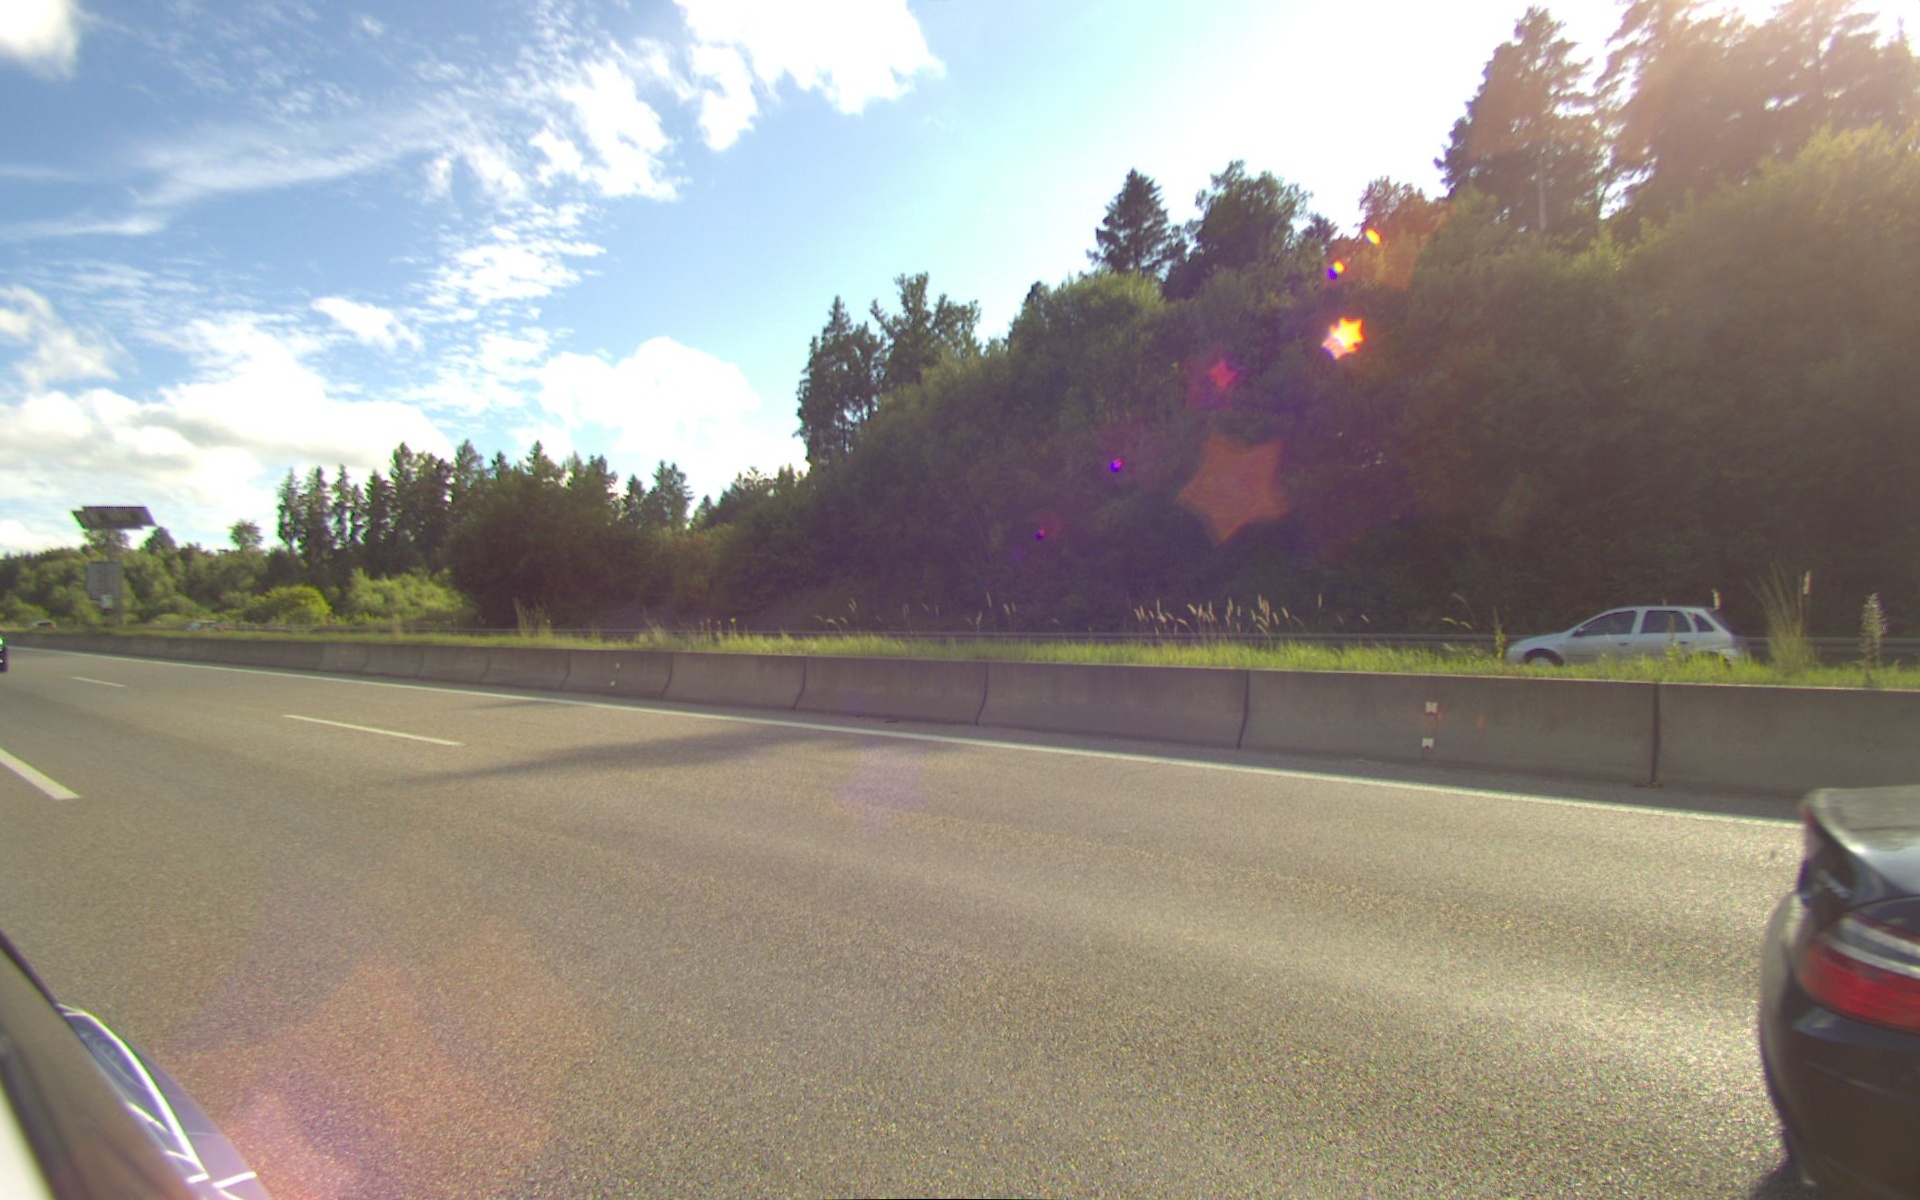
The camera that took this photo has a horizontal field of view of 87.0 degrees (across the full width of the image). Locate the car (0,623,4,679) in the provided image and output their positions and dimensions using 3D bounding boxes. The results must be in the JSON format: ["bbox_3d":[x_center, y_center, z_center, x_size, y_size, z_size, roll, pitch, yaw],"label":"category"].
[{"bbox_3d":[-30.243,1.537,30.322,4.385,1.630,1.936,-2,-1,41],"label":"car"}]

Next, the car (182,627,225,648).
[{"bbox_3d":[-61.652,3.035,82.479,4.566,1.640,1.860,-2,-1,40],"label":"car"}]

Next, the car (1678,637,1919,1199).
[{"bbox_3d":[3.519,0.722,1.199,4.196,1.293,1.726,-2,-1,41],"label":"car"}]

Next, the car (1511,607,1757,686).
[{"bbox_3d":[12.312,0.808,18.581,3.542,1.300,1.797,-2,-1,41],"label":"car"}]

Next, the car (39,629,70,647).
[{"bbox_3d":[-98.609,4.089,110.183,4.434,1.895,1.973,-2,-1,40],"label":"car"}]
